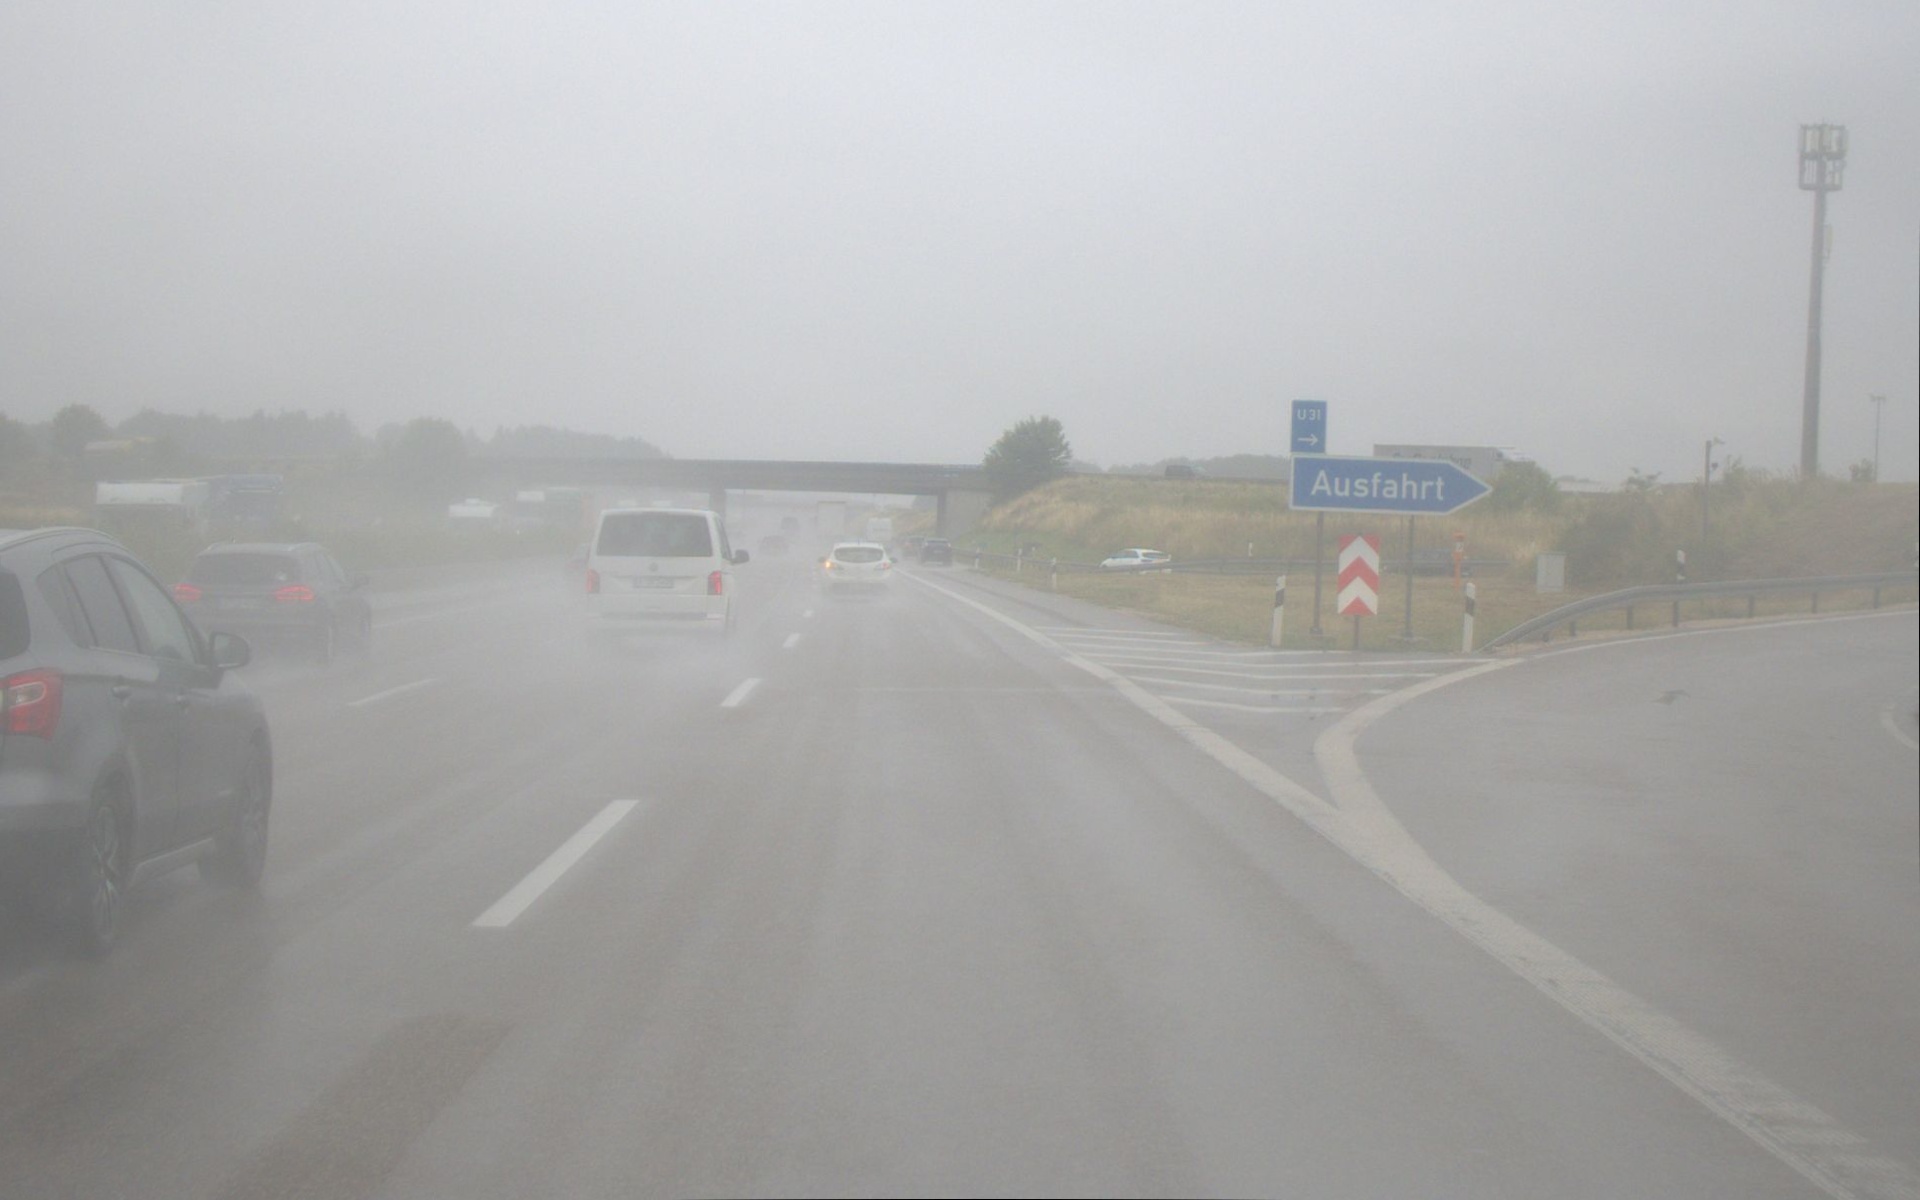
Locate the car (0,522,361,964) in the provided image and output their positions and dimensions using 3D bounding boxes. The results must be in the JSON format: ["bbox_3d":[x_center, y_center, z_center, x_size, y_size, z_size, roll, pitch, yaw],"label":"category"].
[{"bbox_3d":[-3.805,0.440,14.147,1.846,1.508,4.757,1,1,0],"label":"car"}]

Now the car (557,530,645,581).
[{"bbox_3d":[-9.006,-1.117,86.454,1.468,1.253,3.339,1,1,7],"label":"car"}]

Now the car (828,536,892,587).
[{"bbox_3d":[-2.437,-0.968,84.465,1.468,1.204,2.991,1,1,0],"label":"car"}]

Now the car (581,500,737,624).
[{"bbox_3d":[-4.042,-0.516,46.693,1.897,1.580,4.000,1,1,-2],"label":"car"}]

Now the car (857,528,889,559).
[{"bbox_3d":[-6.312,-4.123,249.640,1.993,2.094,4.001,3,2,-5],"label":"car"}]

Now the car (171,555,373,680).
[{"bbox_3d":[-7.953,0.167,40.031,1.612,1.349,4.000,1,1,-1],"label":"car"}]
